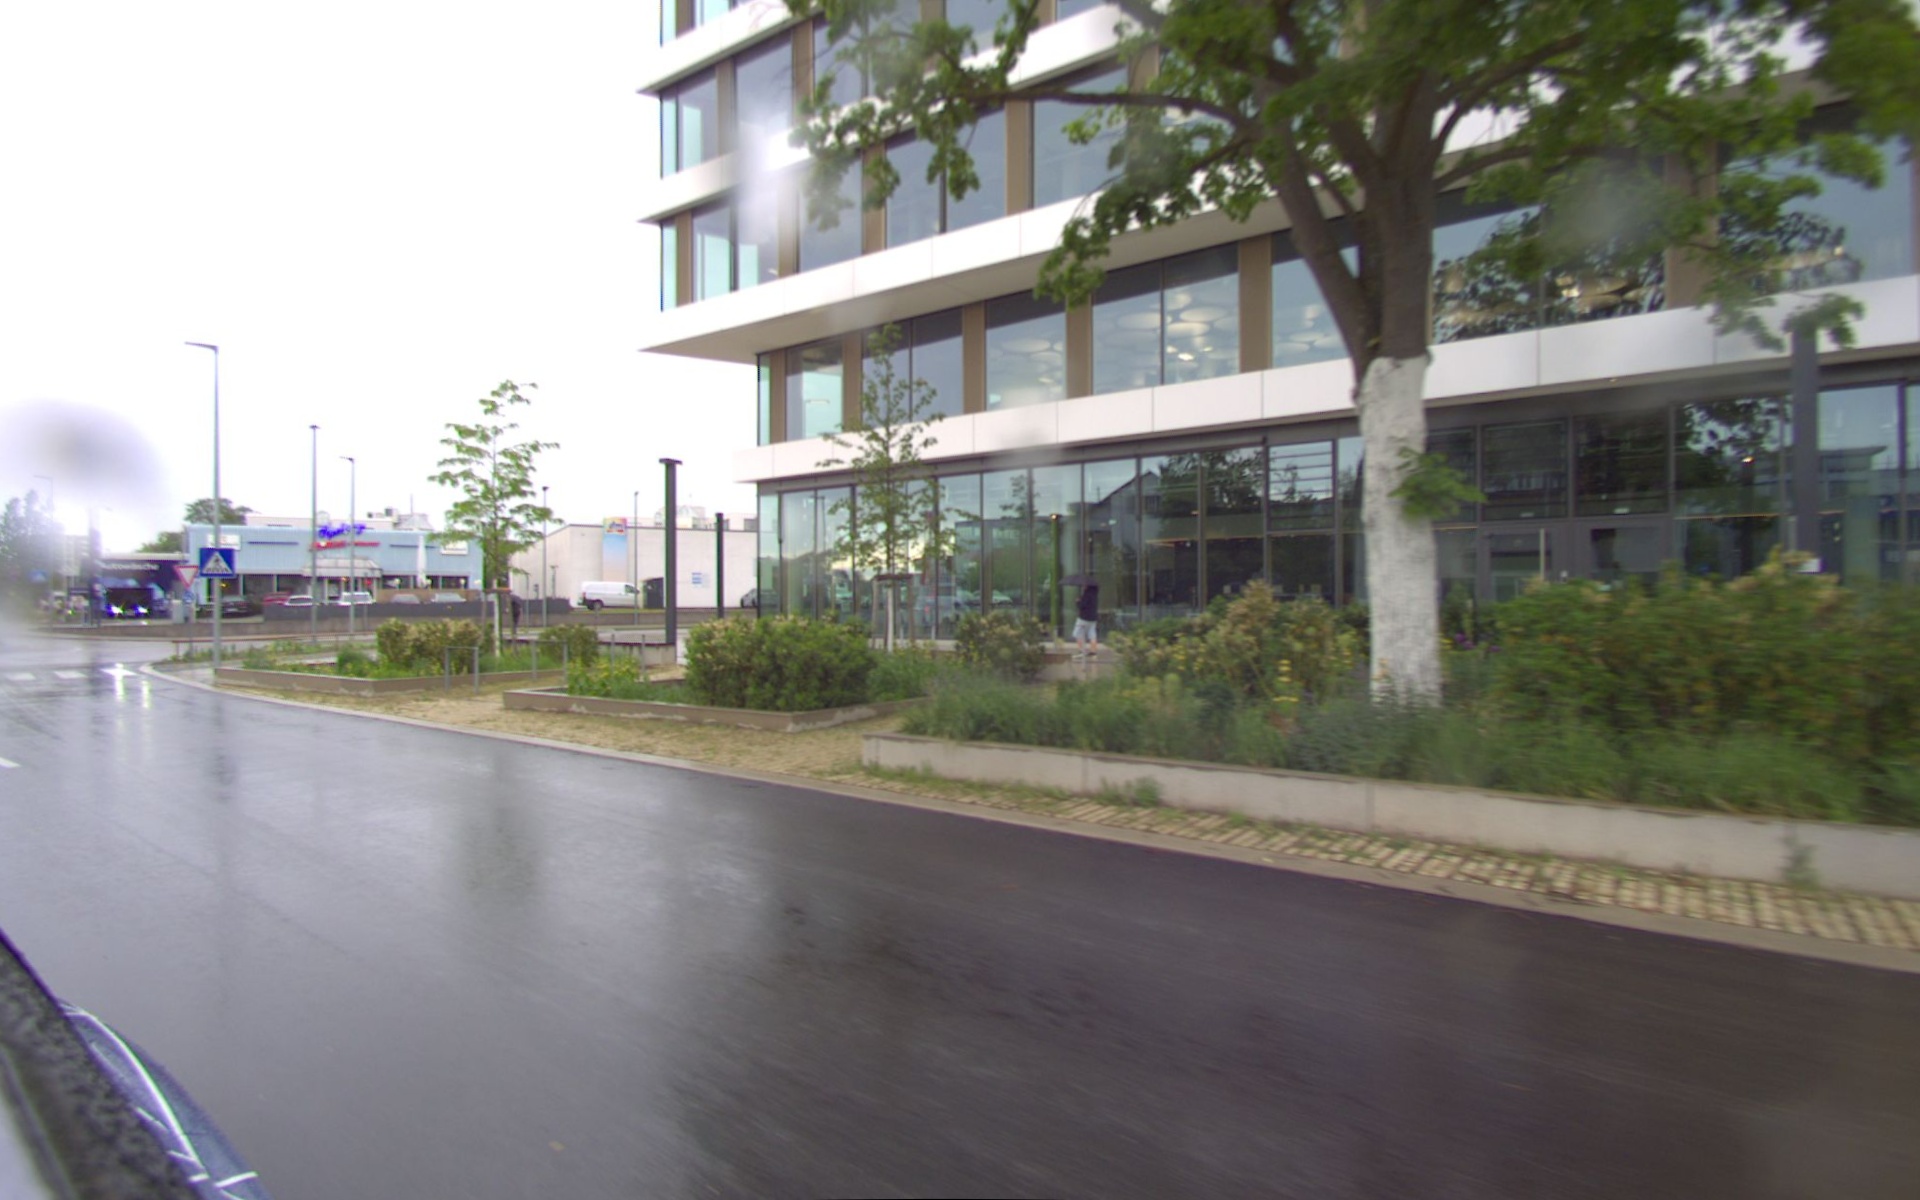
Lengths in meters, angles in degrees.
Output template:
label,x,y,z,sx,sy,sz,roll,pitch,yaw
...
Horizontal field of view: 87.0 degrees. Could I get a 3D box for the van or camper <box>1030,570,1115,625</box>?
label,x,y,z,sx,sy,sz,roll,pitch,yaw
van or camper,7.018,-0.174,62.958,5.016,3.111,2.006,-3,1,-32

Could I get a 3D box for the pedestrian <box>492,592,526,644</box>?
label,x,y,z,sx,sy,sz,roll,pitch,yaw
pedestrian,-18.021,0.699,40.450,0.929,2.029,0.883,-1,0,35

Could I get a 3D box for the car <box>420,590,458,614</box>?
label,x,y,z,sx,sy,sz,roll,pitch,yaw
car,-31.773,0.123,61.677,1.856,1.305,4.013,-4,2,-29

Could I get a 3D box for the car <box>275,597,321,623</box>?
label,x,y,z,sx,sy,sz,roll,pitch,yaw
car,-37.811,0.541,57.874,1.856,1.305,4.013,-4,2,-29

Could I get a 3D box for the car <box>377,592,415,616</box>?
label,x,y,z,sx,sy,sz,roll,pitch,yaw
car,-33.751,0.246,60.613,1.856,1.305,4.013,-4,2,-29

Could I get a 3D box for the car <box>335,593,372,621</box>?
label,x,y,z,sx,sy,sz,roll,pitch,yaw
car,-35.791,0.404,59.720,1.764,1.563,4.011,-1,0,-32

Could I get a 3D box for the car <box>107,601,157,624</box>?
label,x,y,z,sx,sy,sz,roll,pitch,yaw
car,-59.435,0.895,72.717,1.888,1.541,4.013,-3,1,-26

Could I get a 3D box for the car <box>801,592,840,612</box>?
label,x,y,z,sx,sy,sz,roll,pitch,yaw
car,-11.498,0.161,83.361,1.764,1.563,4.012,-1,0,-31

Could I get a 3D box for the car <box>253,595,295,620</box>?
label,x,y,z,sx,sy,sz,roll,pitch,yaw
car,-46.200,0.510,68.228,1.856,1.497,4.013,-4,2,-29

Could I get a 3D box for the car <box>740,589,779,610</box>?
label,x,y,z,sx,sy,sz,roll,pitch,yaw
car,-16.020,-0.046,80.676,1.764,1.563,4.012,-1,0,-31

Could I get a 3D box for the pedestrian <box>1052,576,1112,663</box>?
label,x,y,z,sx,sy,sz,roll,pitch,yaw
pedestrian,2.527,0.377,20.917,0.956,1.716,0.717,1,4,41

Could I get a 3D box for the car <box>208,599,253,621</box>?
label,x,y,z,sx,sy,sz,roll,pitch,yaw
car,-48.088,0.650,66.753,1.856,1.305,4.013,-4,2,-29

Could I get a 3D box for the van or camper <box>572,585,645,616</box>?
label,x,y,z,sx,sy,sz,roll,pitch,yaw
van or camper,-23.703,0.025,68.310,4.307,1.774,1.894,-4,2,-28
